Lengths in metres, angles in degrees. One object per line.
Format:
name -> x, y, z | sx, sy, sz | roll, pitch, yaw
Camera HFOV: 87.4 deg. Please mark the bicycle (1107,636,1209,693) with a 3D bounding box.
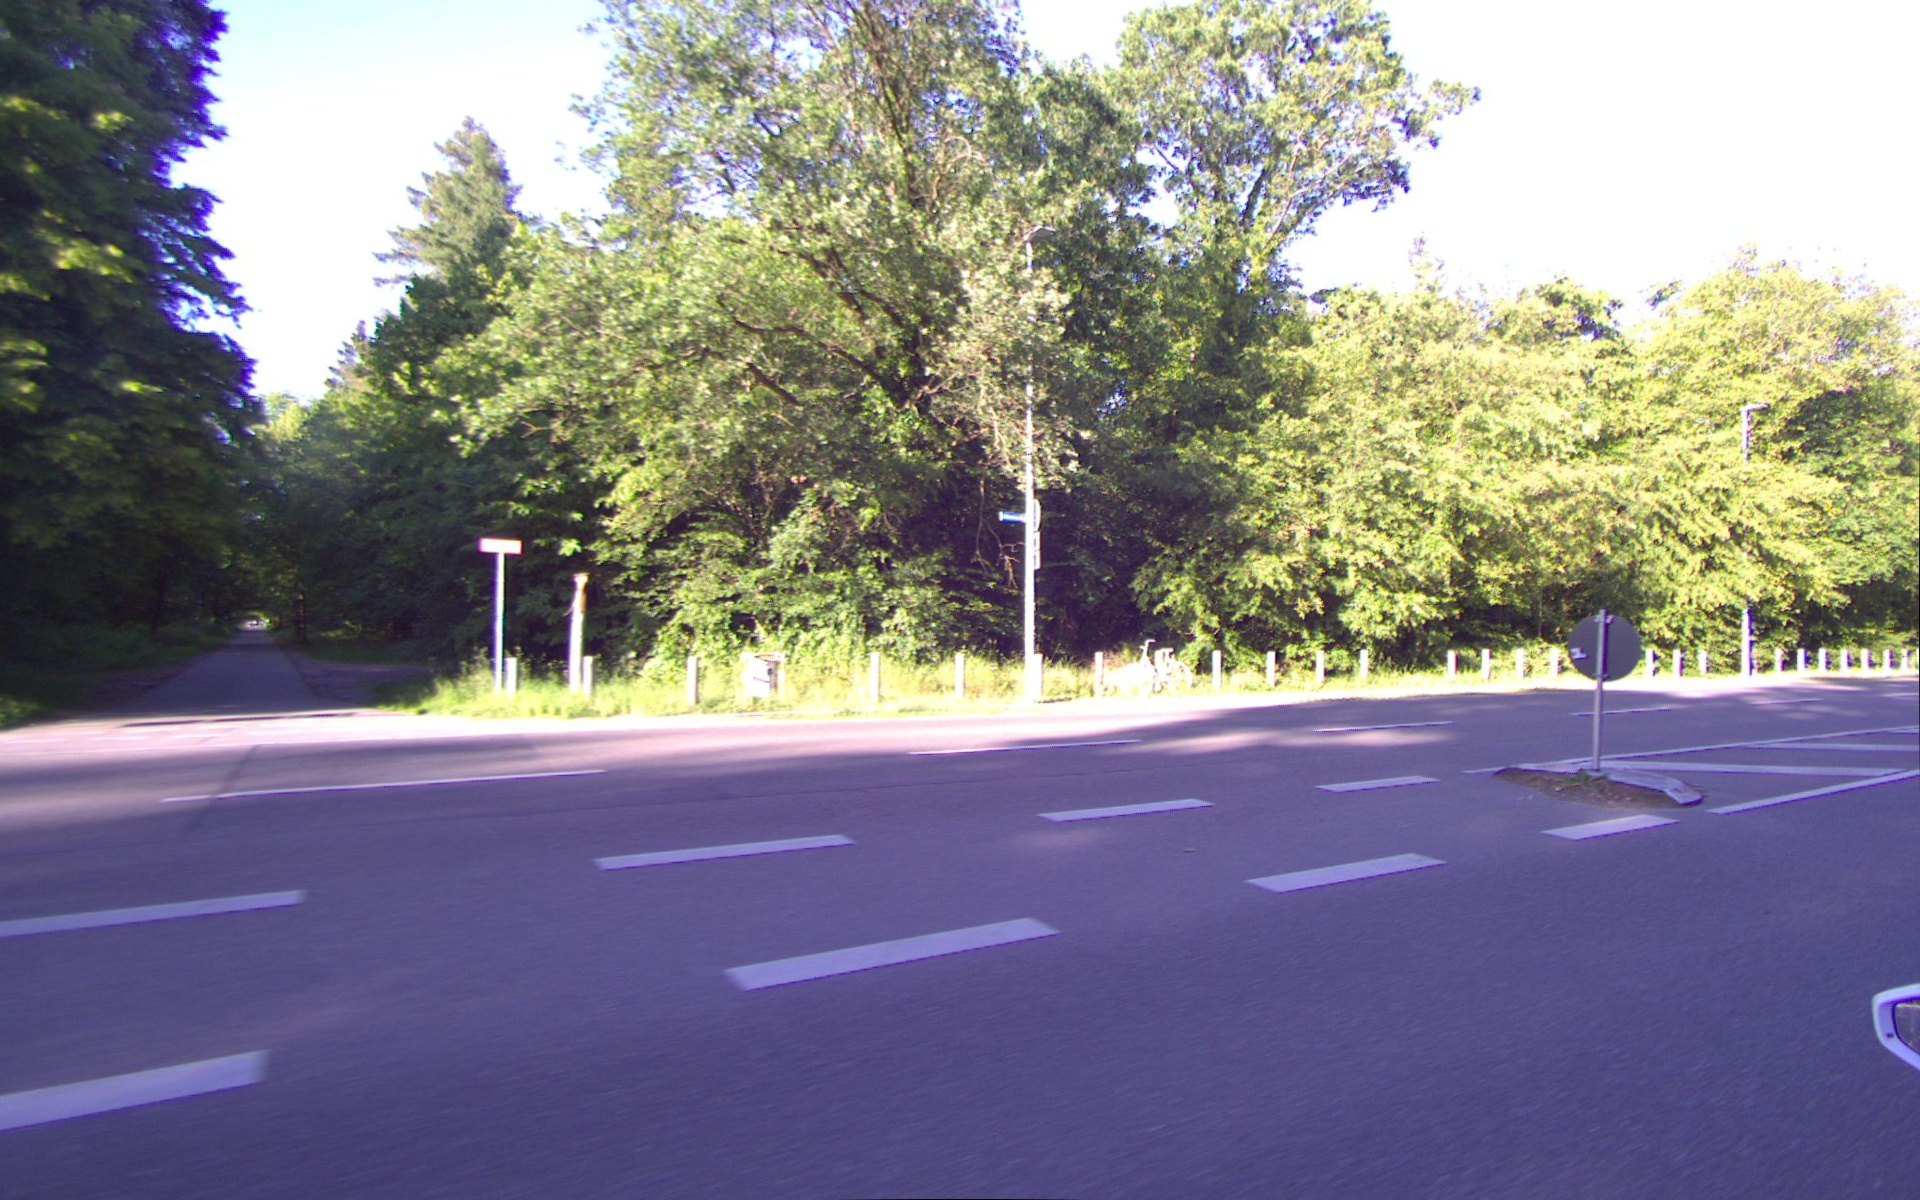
bicycle -> 4.153, 1.350, 21.031 | 2.186, 1.147, 0.400 | 1, 1, -21
